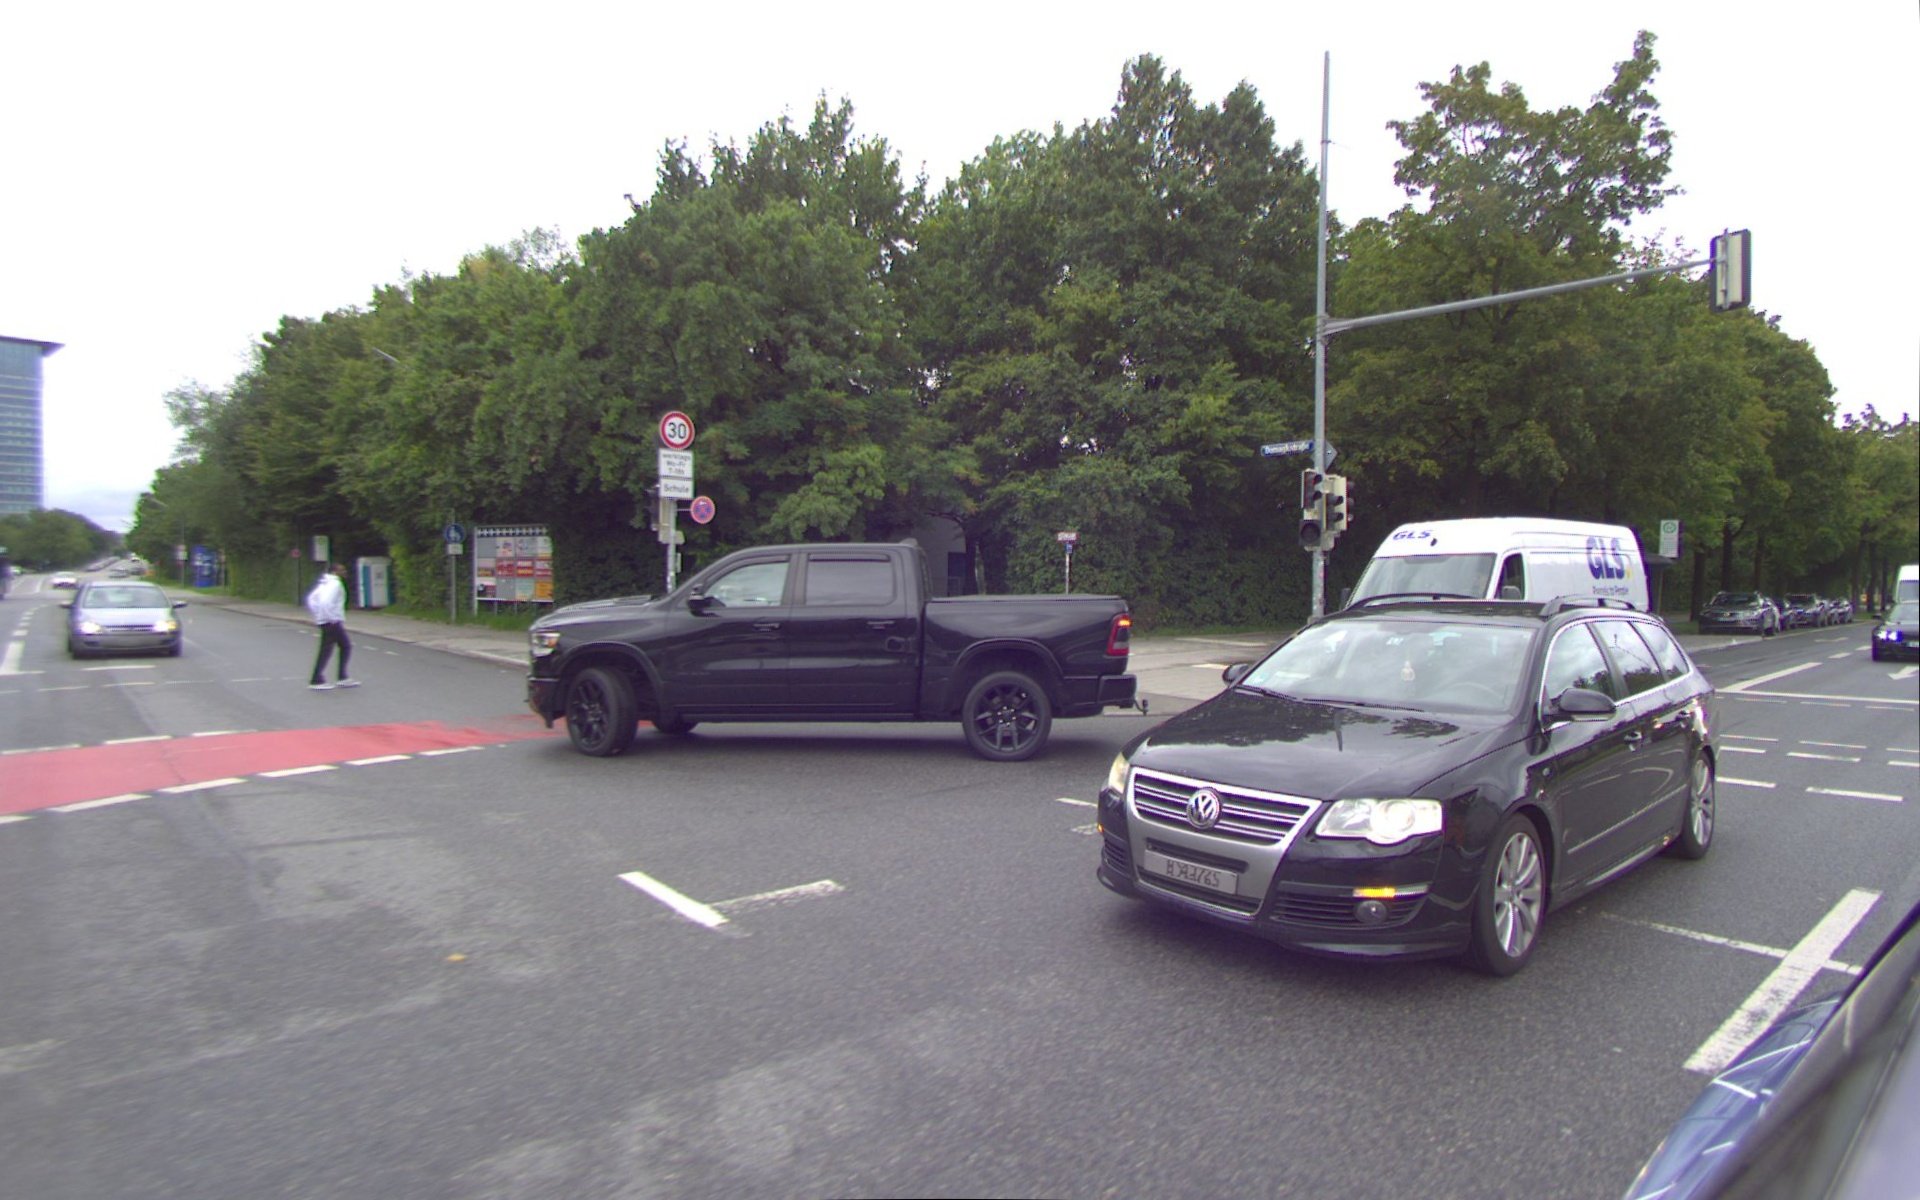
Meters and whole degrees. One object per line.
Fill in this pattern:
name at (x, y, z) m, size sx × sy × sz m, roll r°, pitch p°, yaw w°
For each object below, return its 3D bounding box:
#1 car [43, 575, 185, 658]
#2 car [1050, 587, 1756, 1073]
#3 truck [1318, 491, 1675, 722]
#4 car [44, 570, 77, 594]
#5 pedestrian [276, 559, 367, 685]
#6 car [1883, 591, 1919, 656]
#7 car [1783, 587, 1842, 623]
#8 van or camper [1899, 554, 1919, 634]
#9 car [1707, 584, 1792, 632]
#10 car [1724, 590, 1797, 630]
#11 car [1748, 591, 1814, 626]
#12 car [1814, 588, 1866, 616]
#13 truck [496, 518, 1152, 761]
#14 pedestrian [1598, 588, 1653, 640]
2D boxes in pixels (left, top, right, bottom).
car at (-16.628, 0.251, 19.833) m, size 3.934 × 1.472 × 1.603 m, roll 1°, pitch 1°, yaw 42°
car at (2.654, 0.681, 5.331) m, size 4.593 × 1.493 × 1.749 m, roll -1°, pitch 1°, yaw -43°
truck at (8.004, 0.023, 14.602) m, size 7.098 × 2.636 × 1.998 m, roll -1°, pitch 1°, yaw -40°
car at (-79.331, -1.575, 89.312) m, size 1.964 × 2.039 × 3.996 m, roll 0°, pitch 1°, yaw -39°
pedestrian at (-9.095, 0.289, 14.422) m, size 0.758 × 1.724 × 0.926 m, roll 1°, pitch 1°, yaw 39°
car at (23.399, 0.511, 23.935) m, size 4.590 × 1.447 × 1.818 m, roll 0°, pitch 1°, yaw -41°
car at (41.924, 0.205, 49.740) m, size 4.184 × 1.670 × 1.749 m, roll -1°, pitch 1°, yaw -43°
van or camper at (34.209, -0.214, 34.738) m, size 6.952 × 2.593 × 2.182 m, roll 0°, pitch 1°, yaw -41°
car at (29.869, 0.252, 38.254) m, size 4.323 × 1.670 × 1.881 m, roll -1°, pitch 1°, yaw -43°
car at (33.362, 0.365, 42.132) m, size 4.323 × 1.543 × 1.749 m, roll -1°, pitch 1°, yaw -43°
car at (37.274, 0.352, 45.923) m, size 4.184 × 1.446 × 1.749 m, roll -1°, pitch 1°, yaw -43°
car at (49.155, 0.068, 56.518) m, size 4.184 × 1.485 × 1.749 m, roll -1°, pitch 1°, yaw -43°
truck at (-1.195, 0.308, 9.842) m, size 5.704 × 2.039 × 2.105 m, roll 1°, pitch 1°, yaw 2°
pedestrian at (18.567, 0.393, 28.236) m, size 0.601 × 1.401 × 1.154 m, roll 0°, pitch -2°, yaw -43°
